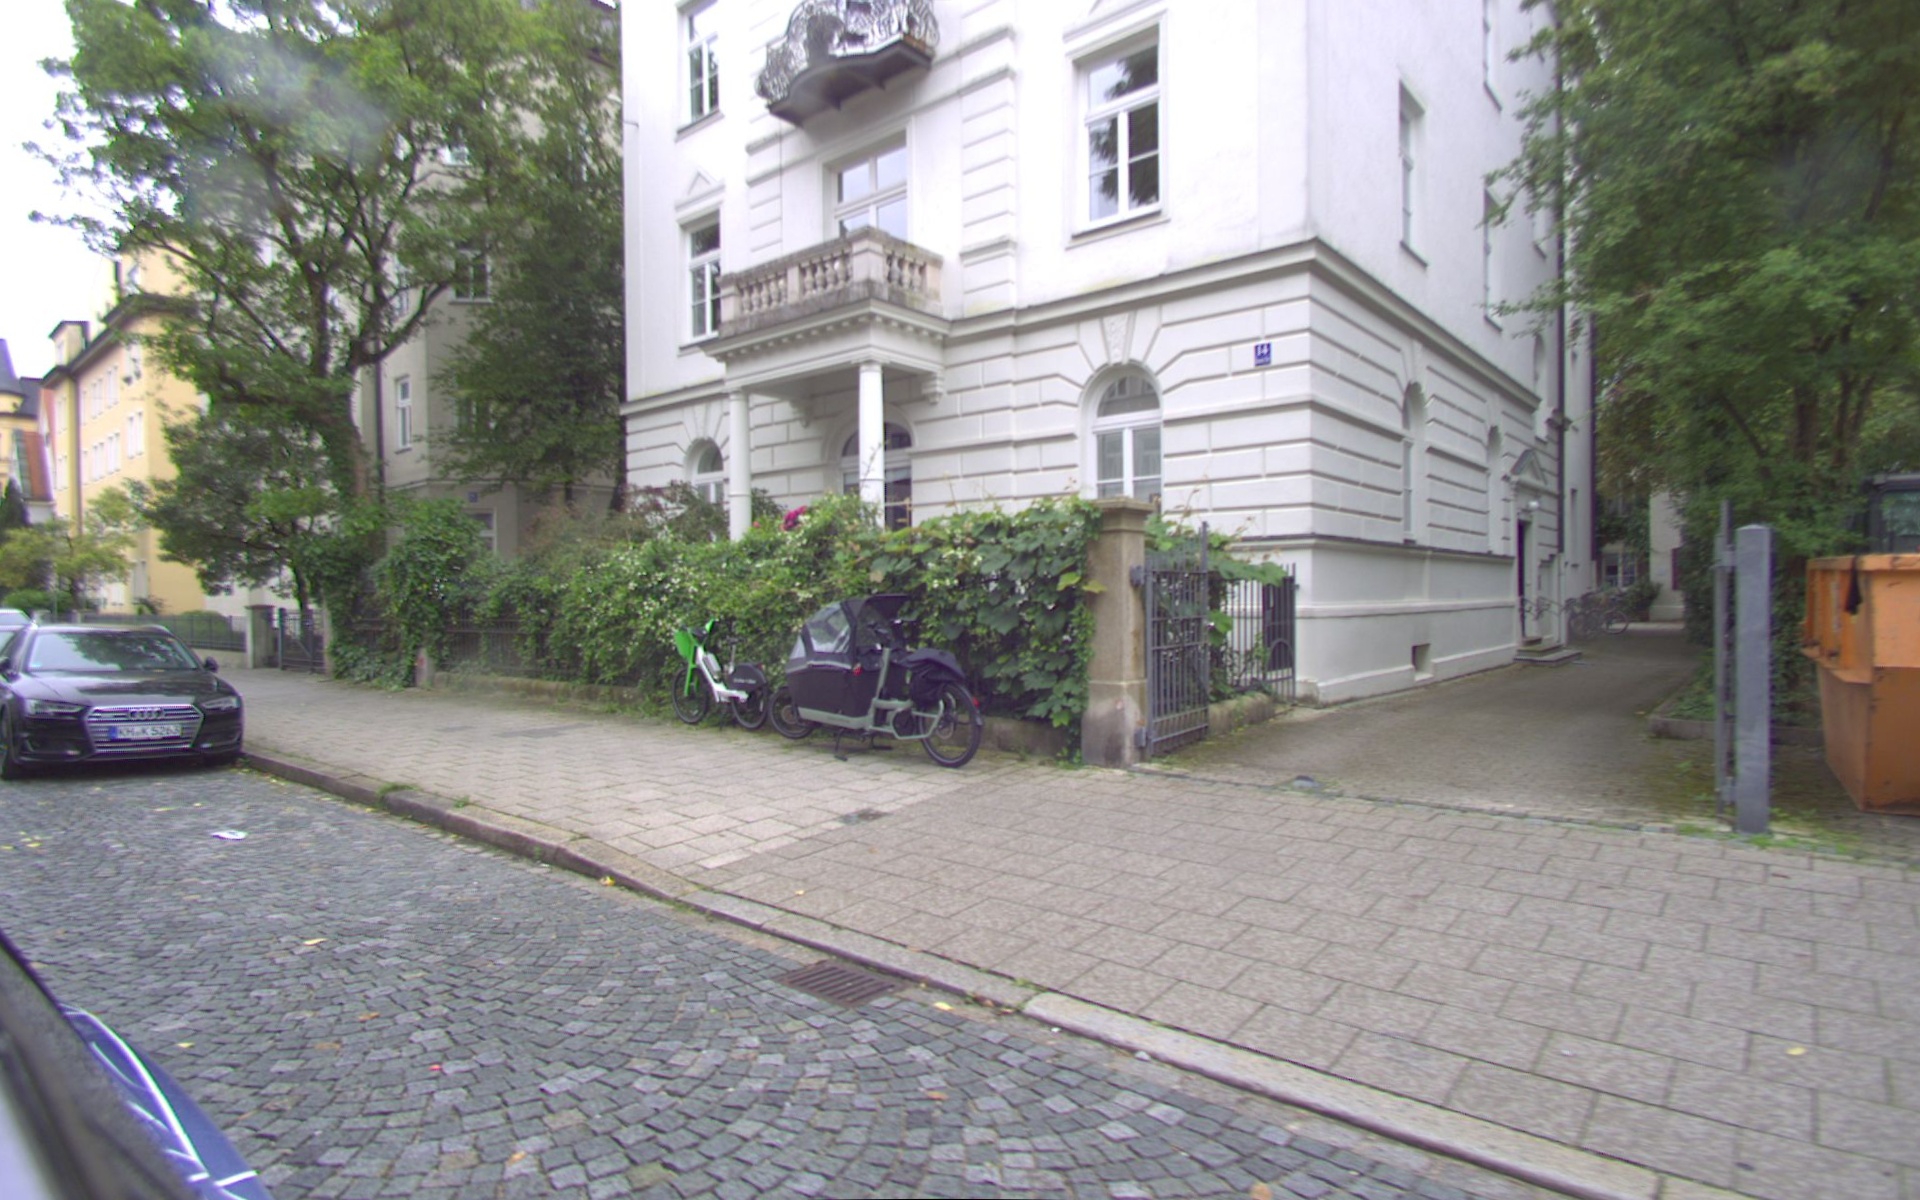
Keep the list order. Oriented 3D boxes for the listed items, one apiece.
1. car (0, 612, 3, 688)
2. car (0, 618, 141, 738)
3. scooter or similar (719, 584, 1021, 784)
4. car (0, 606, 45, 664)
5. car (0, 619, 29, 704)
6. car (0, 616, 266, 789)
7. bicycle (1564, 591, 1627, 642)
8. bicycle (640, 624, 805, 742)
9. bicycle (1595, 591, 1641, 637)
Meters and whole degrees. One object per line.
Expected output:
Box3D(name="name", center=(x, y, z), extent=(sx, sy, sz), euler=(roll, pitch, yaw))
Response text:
Box3D(name="car", center=(-22.320, 1.046, 21.864), extent=(5.015, 1.573, 1.958), euler=(-1, -2, 42))
Box3D(name="car", center=(-12.920, 0.988, 13.841), extent=(4.492, 1.428, 1.765), euler=(-1, -4, 40))
Box3D(name="scooter or similar", center=(-0.844, 0.637, 8.674), extent=(2.654, 1.452, 0.932), euler=(-1, 1, 39))
Box3D(name="car", center=(-31.855, 1.157, 33.254), extent=(4.653, 1.747, 1.926), euler=(-1, 3, 40))
Box3D(name="car", center=(-18.477, 1.083, 18.358), extent=(4.165, 1.455, 1.646), euler=(-1, -1, 38))
Box3D(name="car", center=(-8.963, 0.928, 10.495), extent=(4.405, 1.428, 1.867), euler=(-1, -4, 42))
Box3D(name="bicycle", center=(16.113, 0.387, 25.629), extent=(0.936, 1.214, 2.910), euler=(-1, 0, 40))
Box3D(name="bicycle", center=(-2.559, 0.835, 10.765), extent=(2.049, 1.131, 0.571), euler=(-1, 0, 39))
Box3D(name="bicycle", center=(18.319, 0.362, 28.215), extent=(0.933, 1.214, 2.467), euler=(-1, 0, 31))
